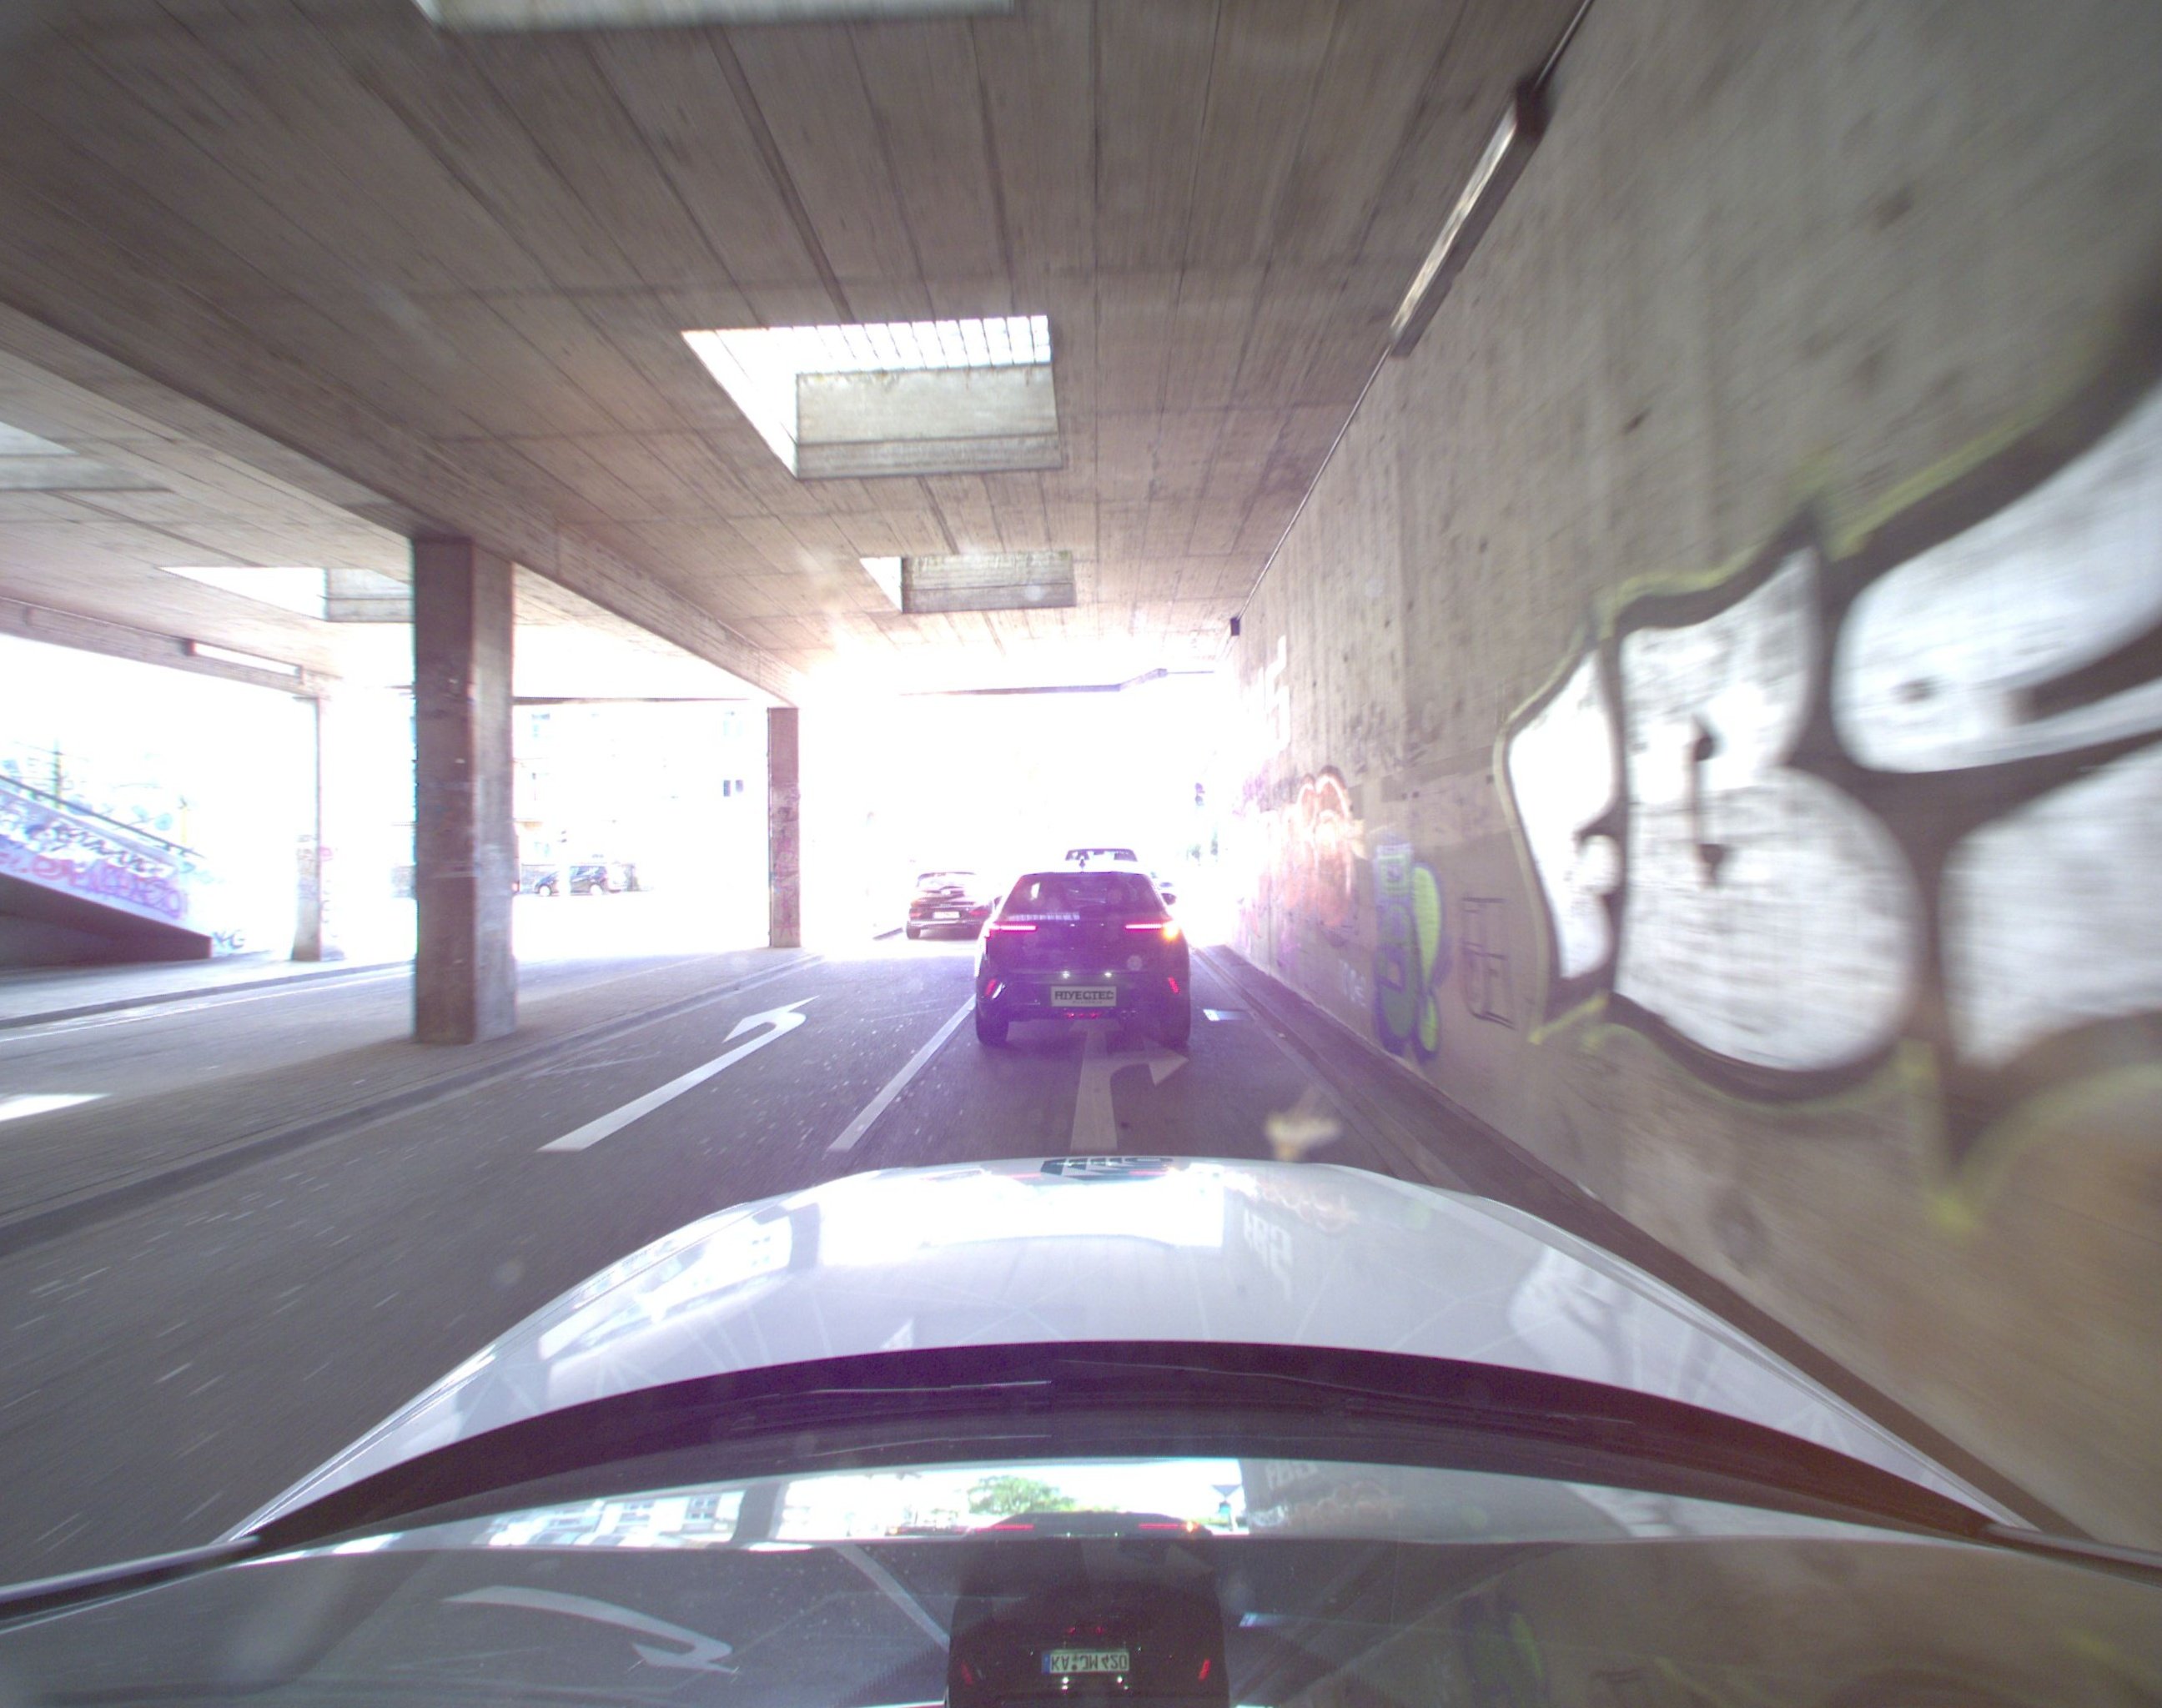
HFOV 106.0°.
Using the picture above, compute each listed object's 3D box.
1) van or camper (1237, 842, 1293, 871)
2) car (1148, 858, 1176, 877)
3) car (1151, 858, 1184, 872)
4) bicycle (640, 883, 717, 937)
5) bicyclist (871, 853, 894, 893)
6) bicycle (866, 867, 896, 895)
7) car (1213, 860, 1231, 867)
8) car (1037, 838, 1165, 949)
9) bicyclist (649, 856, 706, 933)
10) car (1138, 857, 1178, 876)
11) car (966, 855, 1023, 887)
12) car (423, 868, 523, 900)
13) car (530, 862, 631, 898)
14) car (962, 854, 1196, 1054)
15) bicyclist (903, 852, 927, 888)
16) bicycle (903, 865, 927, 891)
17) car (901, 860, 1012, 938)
[{"bbox_3d":[21.219,0.279,93.918,6.039,2.929,2.584,-4,-2,11],"label":"van or camper"},{"bbox_3d":[6.772,1.098,67.905,1.692,1.512,3.877,-3,-1,14],"label":"car"},{"bbox_3d":[14.011,1.806,131.639,4.904,2.083,1.971,-1,-1,-22],"label":"car"},{"bbox_3d":[-9.389,1.285,19.090,0.694,1.090,1.863,-1,2,6],"label":"bicycle"},{"bbox_3d":[-8.187,0.766,33.579,0.602,1.632,0.912,-1,-1,7],"label":"bicyclist"},{"bbox_3d":[-8.189,1.093,33.429,0.523,1.090,1.864,-1,0,8],"label":"bicycle"},{"bbox_3d":[33.158,2.247,191.193,3.930,1.397,1.518,-4,-1,3],"label":"car"},{"bbox_3d":[0.290,0.687,16.258,2.127,1.835,4.937,-1,0,-1],"label":"car"},{"bbox_3d":[-9.416,0.925,19.058,0.742,1.711,0.968,-1,1,5],"label":"bicyclist"},{"bbox_3d":[10.814,1.726,114.215,5.266,2.546,1.977,-1,-1,-13],"label":"car"},{"bbox_3d":[-4.086,0.792,39.018,1.646,1.441,3.475,-1,0,12],"label":"car"},{"bbox_3d":[-32.481,1.589,43.591,3.862,1.540,1.900,-1,1,2],"label":"car"},{"bbox_3d":[-26.783,1.383,43.674,4.143,1.724,1.964,-1,1,2],"label":"car"},{"bbox_3d":[0.061,0.775,8.094,1.775,1.517,3.757,-1,0,2],"label":"car"},{"bbox_3d":[-7.705,0.742,37.868,0.778,1.660,1.032,-1,-1,4],"label":"bicyclist"},{"bbox_3d":[-7.694,1.102,37.837,0.539,1.123,2.061,-1,0,4],"label":"bicycle"},{"bbox_3d":[-2.584,0.885,17.870,1.796,1.451,4.324,-2,0,-1],"label":"car"}]
